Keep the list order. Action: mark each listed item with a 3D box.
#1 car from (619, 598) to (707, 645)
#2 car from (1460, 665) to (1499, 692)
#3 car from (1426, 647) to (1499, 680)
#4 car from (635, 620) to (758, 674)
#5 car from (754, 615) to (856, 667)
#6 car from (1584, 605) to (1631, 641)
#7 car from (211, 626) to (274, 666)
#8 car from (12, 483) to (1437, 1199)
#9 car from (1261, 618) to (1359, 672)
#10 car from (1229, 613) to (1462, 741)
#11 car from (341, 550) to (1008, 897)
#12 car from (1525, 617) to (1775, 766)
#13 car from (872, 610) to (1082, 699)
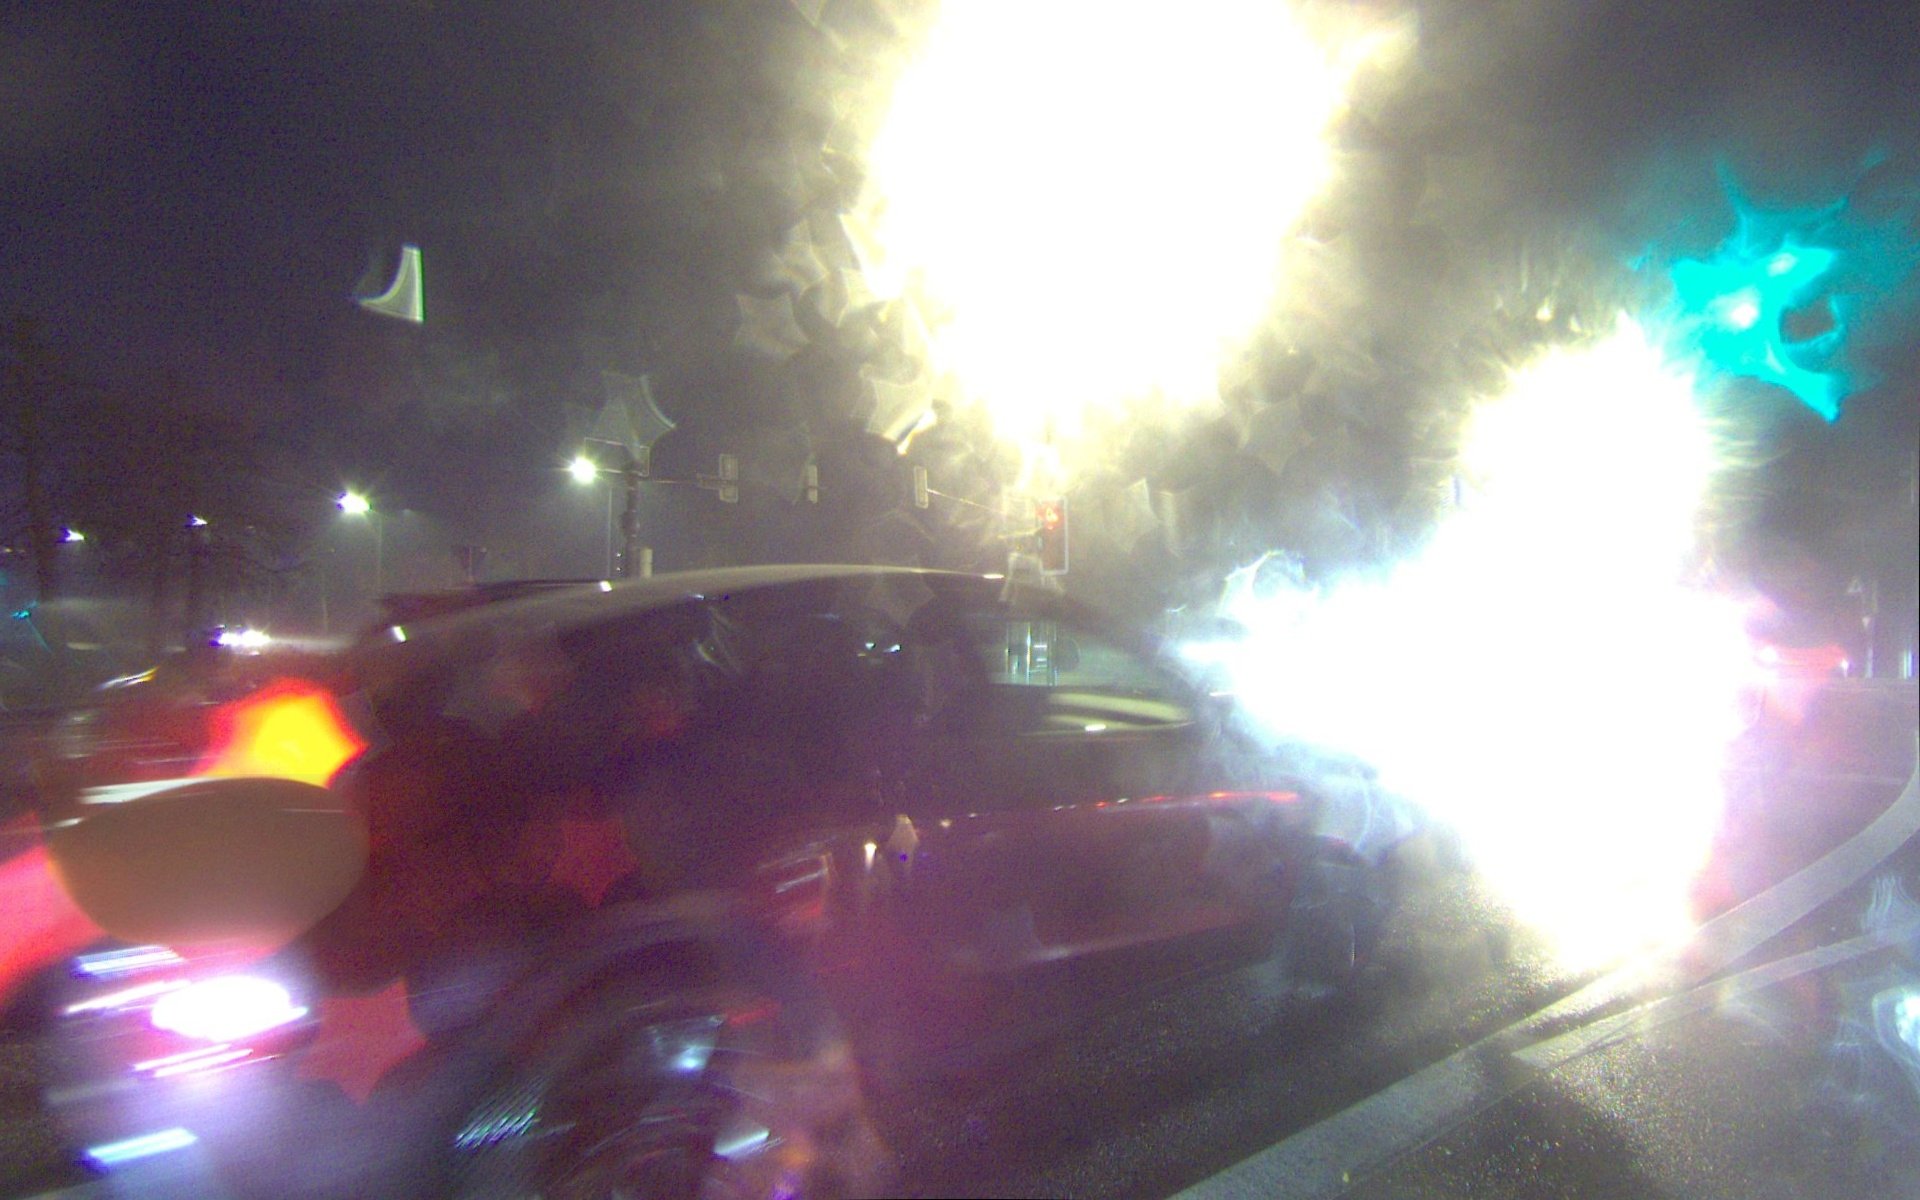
[{"bbox_3d":[-13.700,0.965,46.319,4.080,2.051,1.787,1,0,37],"label":"car"},{"bbox_3d":[38.511,5.787,74.420,1.748,1.795,3.981,1,-1,40],"label":"car"},{"bbox_3d":[25.070,3.133,50.029,1.907,1.482,4.759,1,-1,44],"label":"car"},{"bbox_3d":[-9.213,1.577,34.968,4.191,1.654,1.951,1,0,37],"label":"car"},{"bbox_3d":[-6.273,1.613,40.456,4.080,1.878,1.661,1,-1,37],"label":"car"},{"bbox_3d":[39.654,1.395,61.464,1.756,2.106,3.978,2,0,42],"label":"car"},{"bbox_3d":[-41.667,2.646,58.300,3.931,2.107,1.659,1,0,33],"label":"car"},{"bbox_3d":[-0.249,0.736,3.601,4.443,1.675,1.813,1,-3,-40],"label":"car"},{"bbox_3d":[12.236,1.550,34.964,1.878,1.743,4.442,-2,-3,38],"label":"car"},{"bbox_3d":[5.270,0.955,13.473,1.637,1.464,3.771,0,-2,43],"label":"car"},{"bbox_3d":[-1.789,0.670,6.853,3.951,1.680,1.895,2,-2,-38],"label":"car"},{"bbox_3d":[8.435,0.990,12.119,4.285,1.482,1.682,3,-2,-44],"label":"car"},{"bbox_3d":[0.477,1.150,22.888,4.751,1.816,2.010,1,-1,-43],"label":"car"}]
